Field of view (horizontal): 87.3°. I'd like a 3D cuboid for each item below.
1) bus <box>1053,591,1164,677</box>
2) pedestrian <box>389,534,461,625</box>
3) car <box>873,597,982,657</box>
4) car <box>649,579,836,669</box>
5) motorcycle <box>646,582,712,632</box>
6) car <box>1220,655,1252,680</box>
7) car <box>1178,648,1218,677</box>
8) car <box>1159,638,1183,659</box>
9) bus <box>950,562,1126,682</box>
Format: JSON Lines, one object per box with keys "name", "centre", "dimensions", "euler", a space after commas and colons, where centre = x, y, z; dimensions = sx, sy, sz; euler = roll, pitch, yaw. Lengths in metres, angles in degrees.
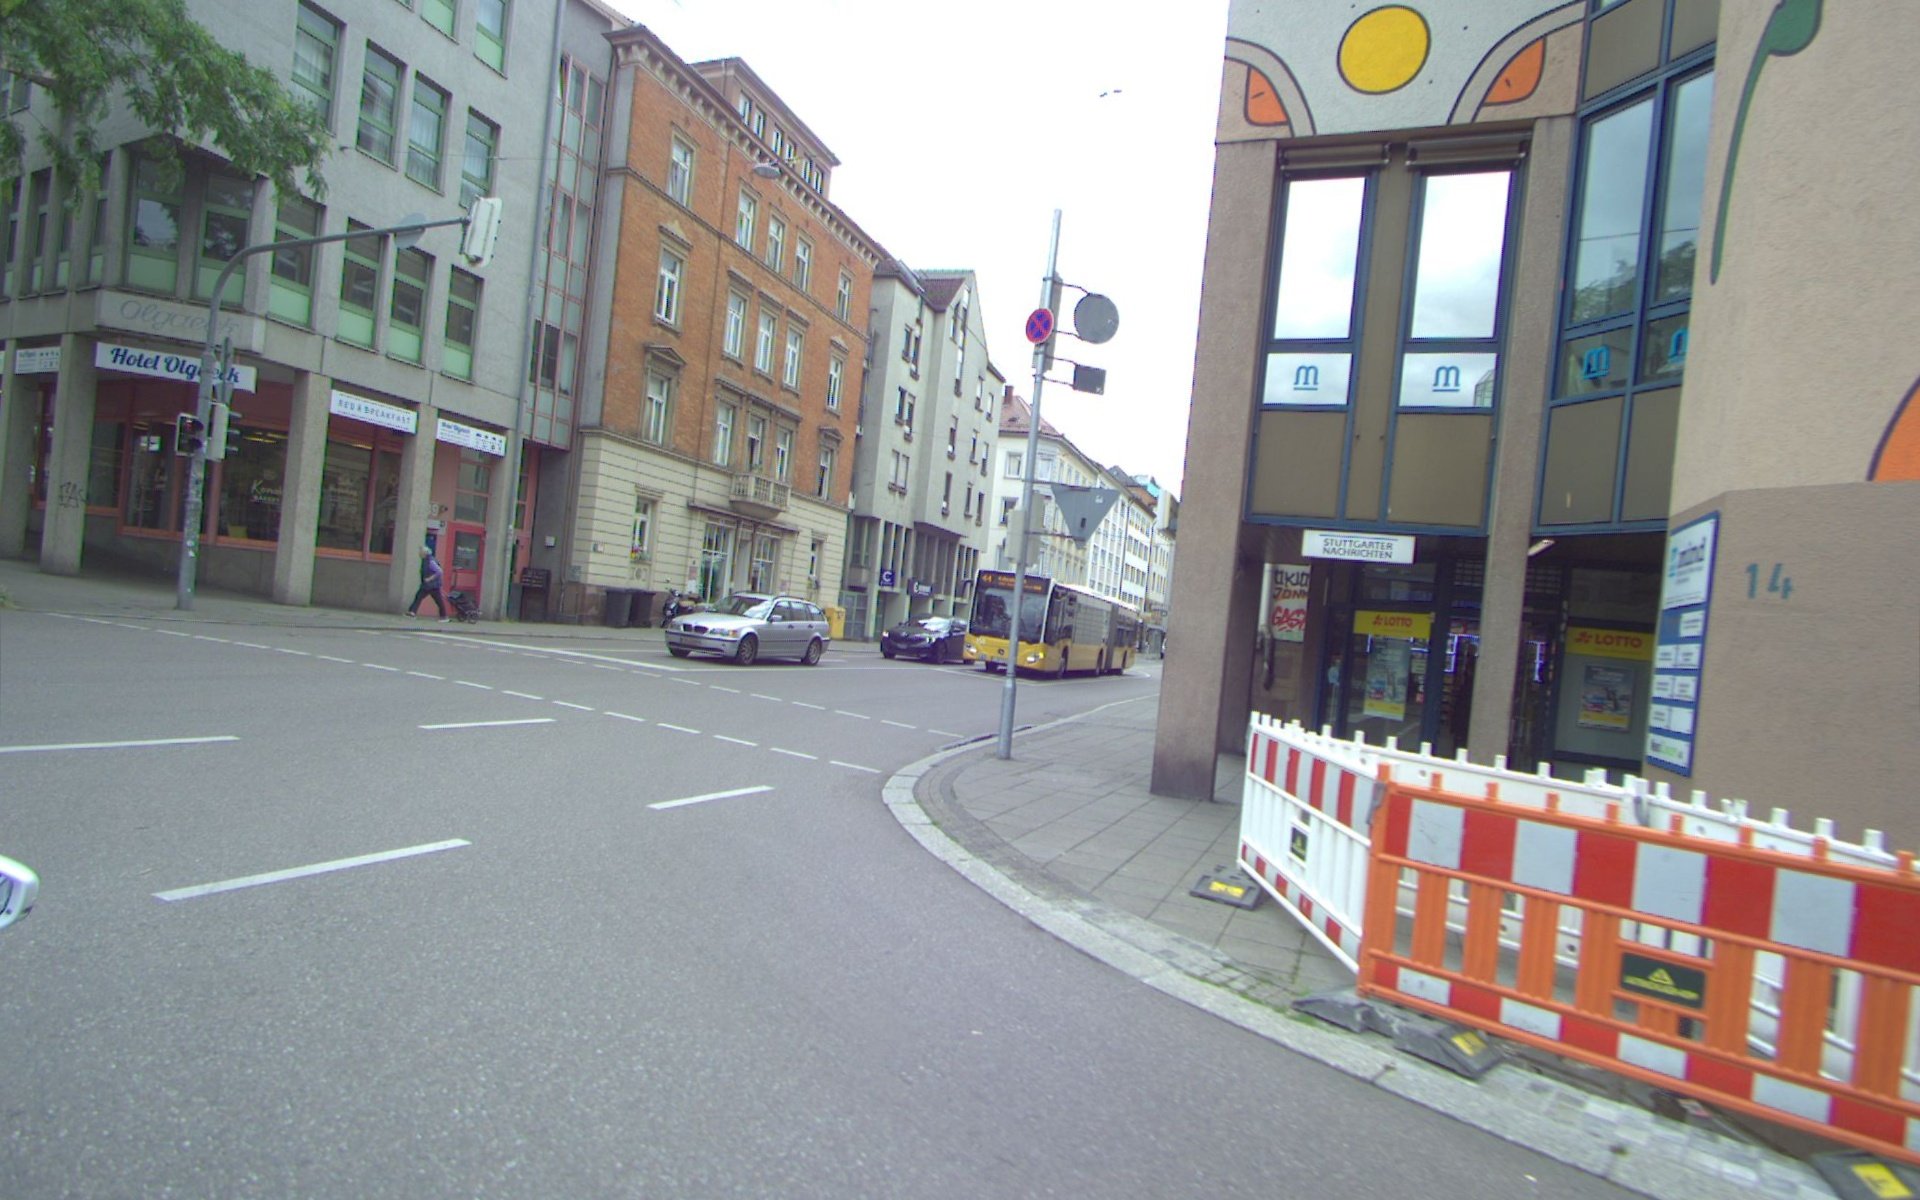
{"name": "bus", "centre": [6.941, 1.690, 45.220], "dimensions": [2.665, 3.073, 11.360], "euler": [8, -1, 18]}
{"name": "pedestrian", "centre": [-11.186, -0.428, 21.081], "dimensions": [1.112, 1.733, 0.851], "euler": [7, 0, -26]}
{"name": "car", "centre": [-0.920, 0.901, 31.669], "dimensions": [1.962, 1.507, 4.272], "euler": [8, -1, 18]}
{"name": "car", "centre": [-4.348, 0.560, 20.843], "dimensions": [1.819, 1.445, 4.163], "euler": [8, -1, 18]}
{"name": "motorcycle", "centre": [-8.441, 0.227, 30.387], "dimensions": [1.131, 1.312, 2.658], "euler": [8, -1, 0]}
{"name": "car", "centre": [20.653, 5.042, 75.132], "dimensions": [1.624, 1.584, 3.661], "euler": [7, -1, 23]}
{"name": "car", "centre": [14.964, 3.936, 63.163], "dimensions": [1.624, 1.584, 3.661], "euler": [7, -1, 23]}
{"name": "car", "centre": [22.960, 5.295, 109.364], "dimensions": [1.962, 2.038, 4.002], "euler": [8, -1, 18]}
{"name": "bus", "centre": [3.072, 0.944, 34.100], "dimensions": [2.821, 3.079, 11.597], "euler": [7, -1, 19]}
